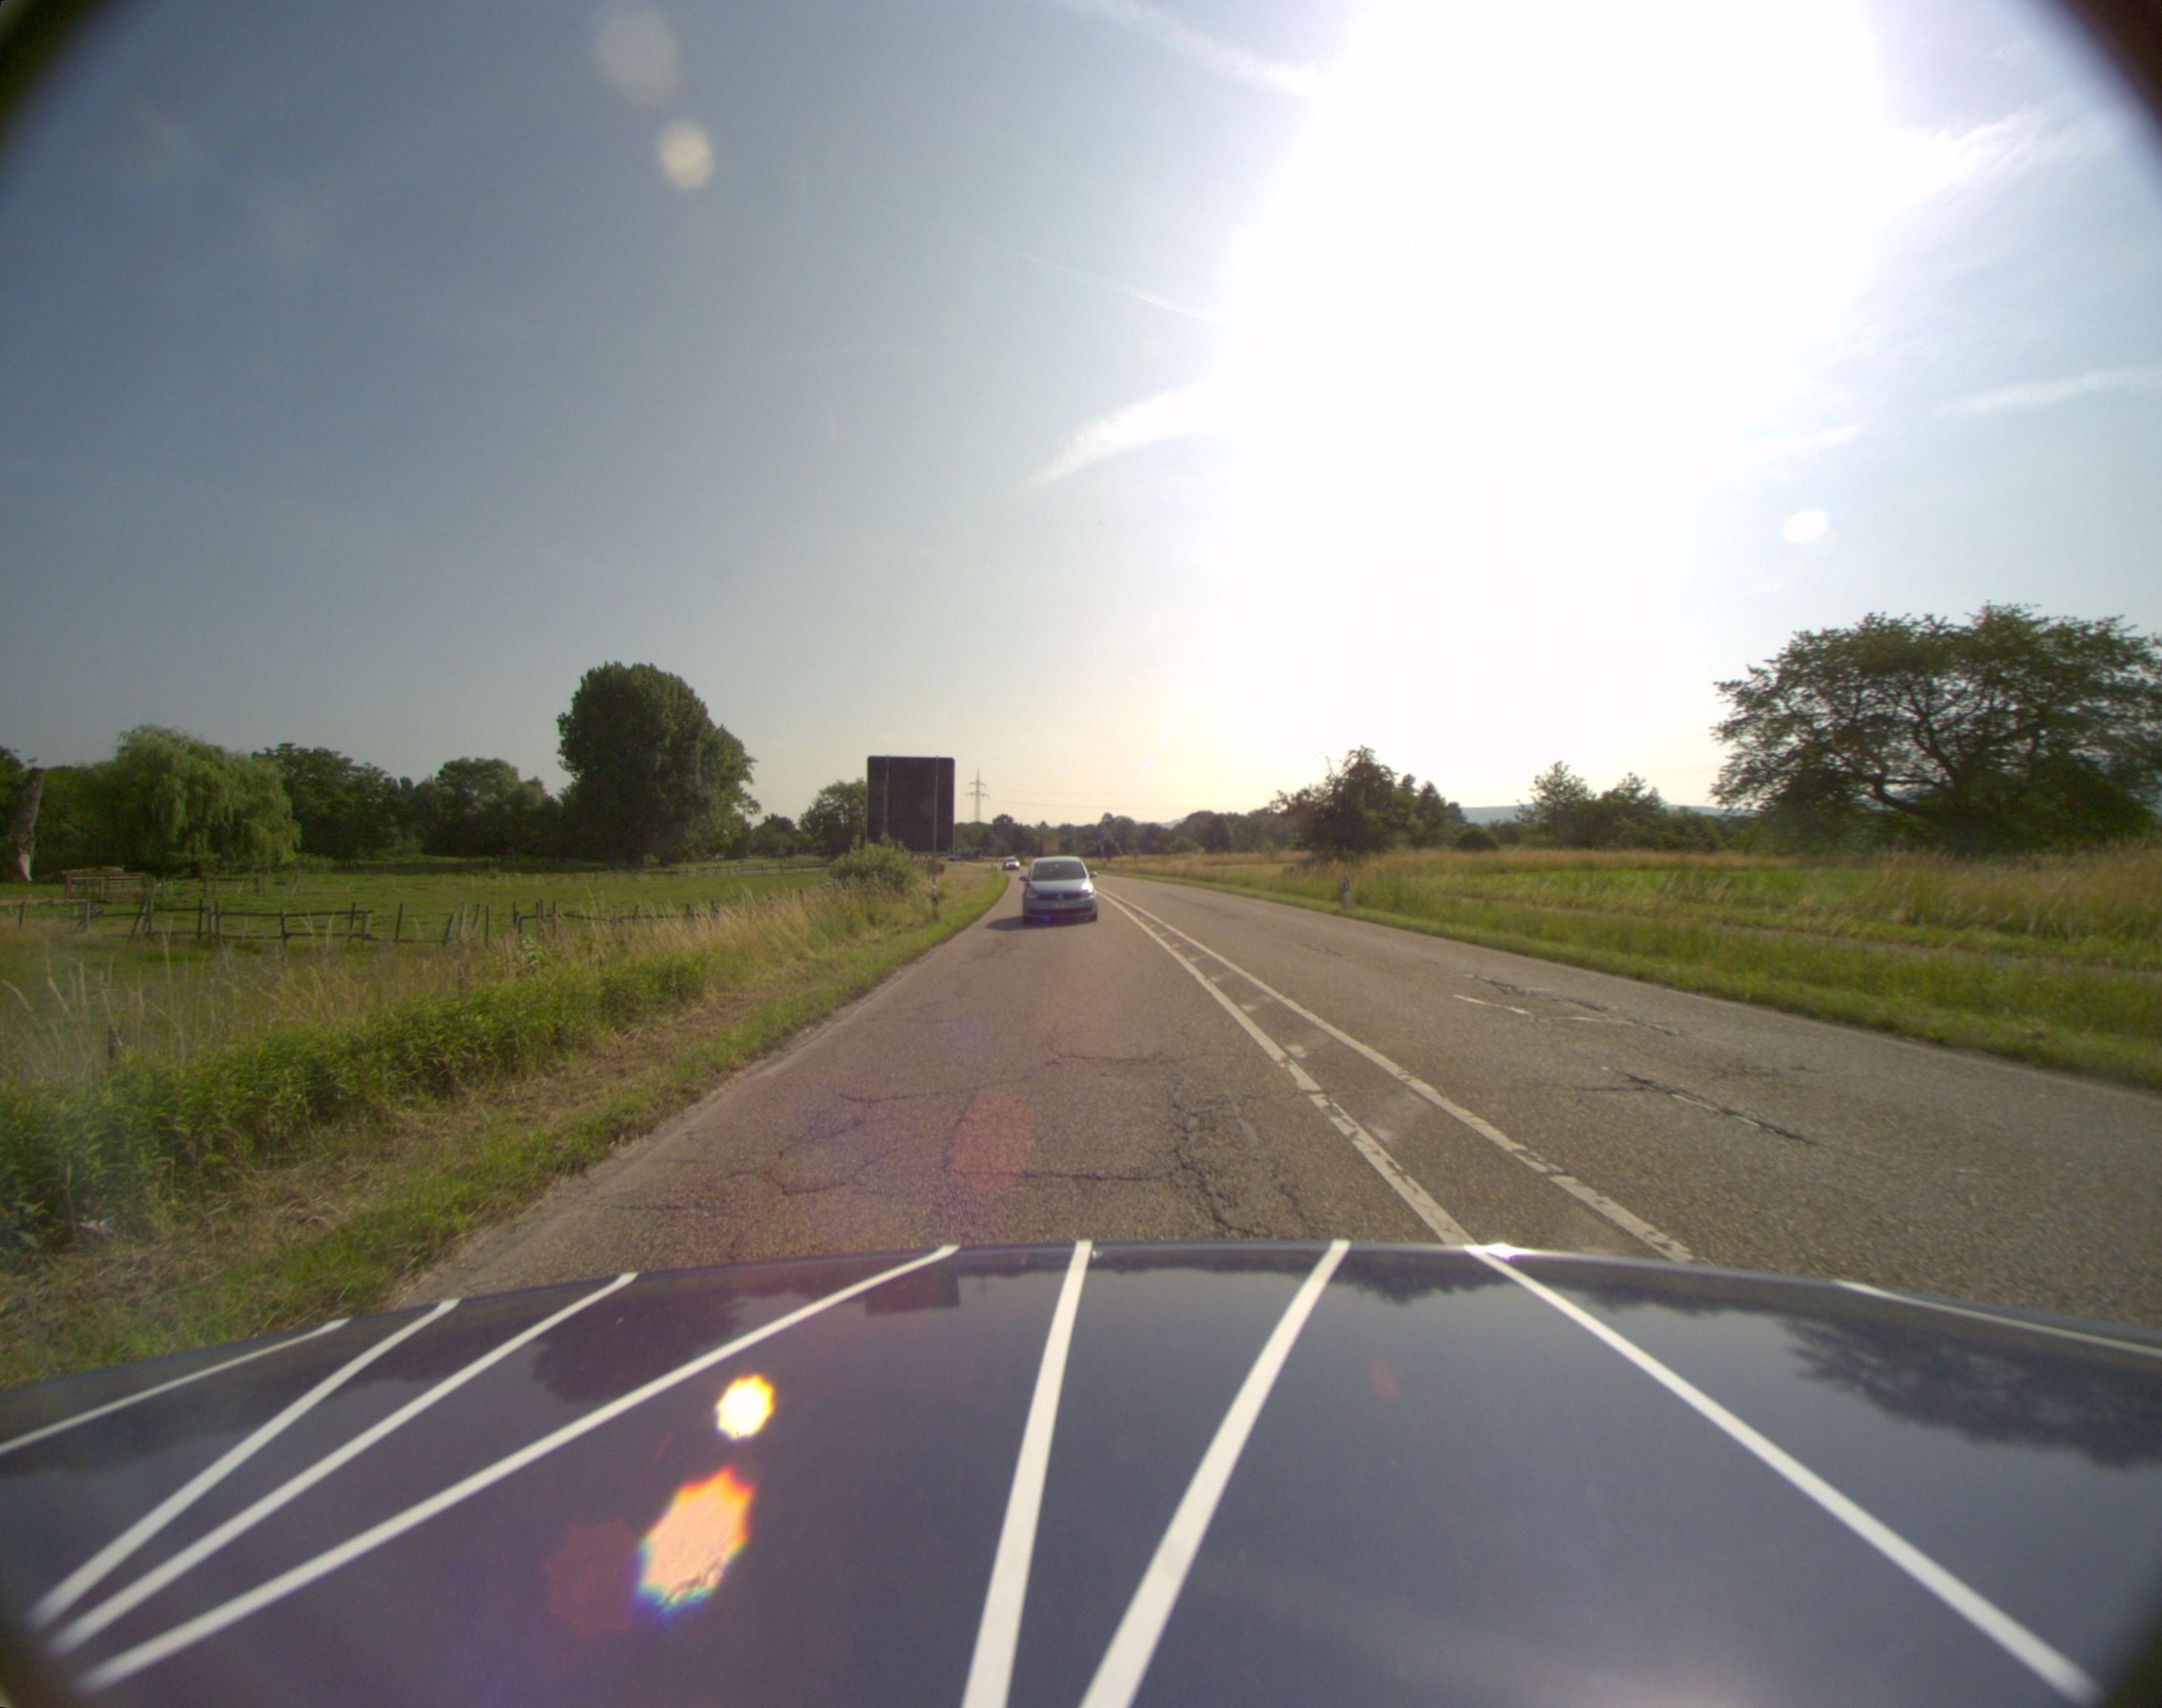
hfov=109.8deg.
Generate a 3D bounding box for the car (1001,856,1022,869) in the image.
[{"bbox_3d":[-8.433,1.017,91.834,2.001,1.570,3.904,-1,0,-13],"label":"car"}]

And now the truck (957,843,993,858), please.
[{"bbox_3d":[-22.524,-0.822,161.747,7.364,3.028,2.582,-1,1,-8],"label":"truck"}]

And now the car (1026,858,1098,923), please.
[{"bbox_3d":[-0.513,0.899,20.649,1.718,1.495,4.093,-2,0,-1],"label":"car"}]
